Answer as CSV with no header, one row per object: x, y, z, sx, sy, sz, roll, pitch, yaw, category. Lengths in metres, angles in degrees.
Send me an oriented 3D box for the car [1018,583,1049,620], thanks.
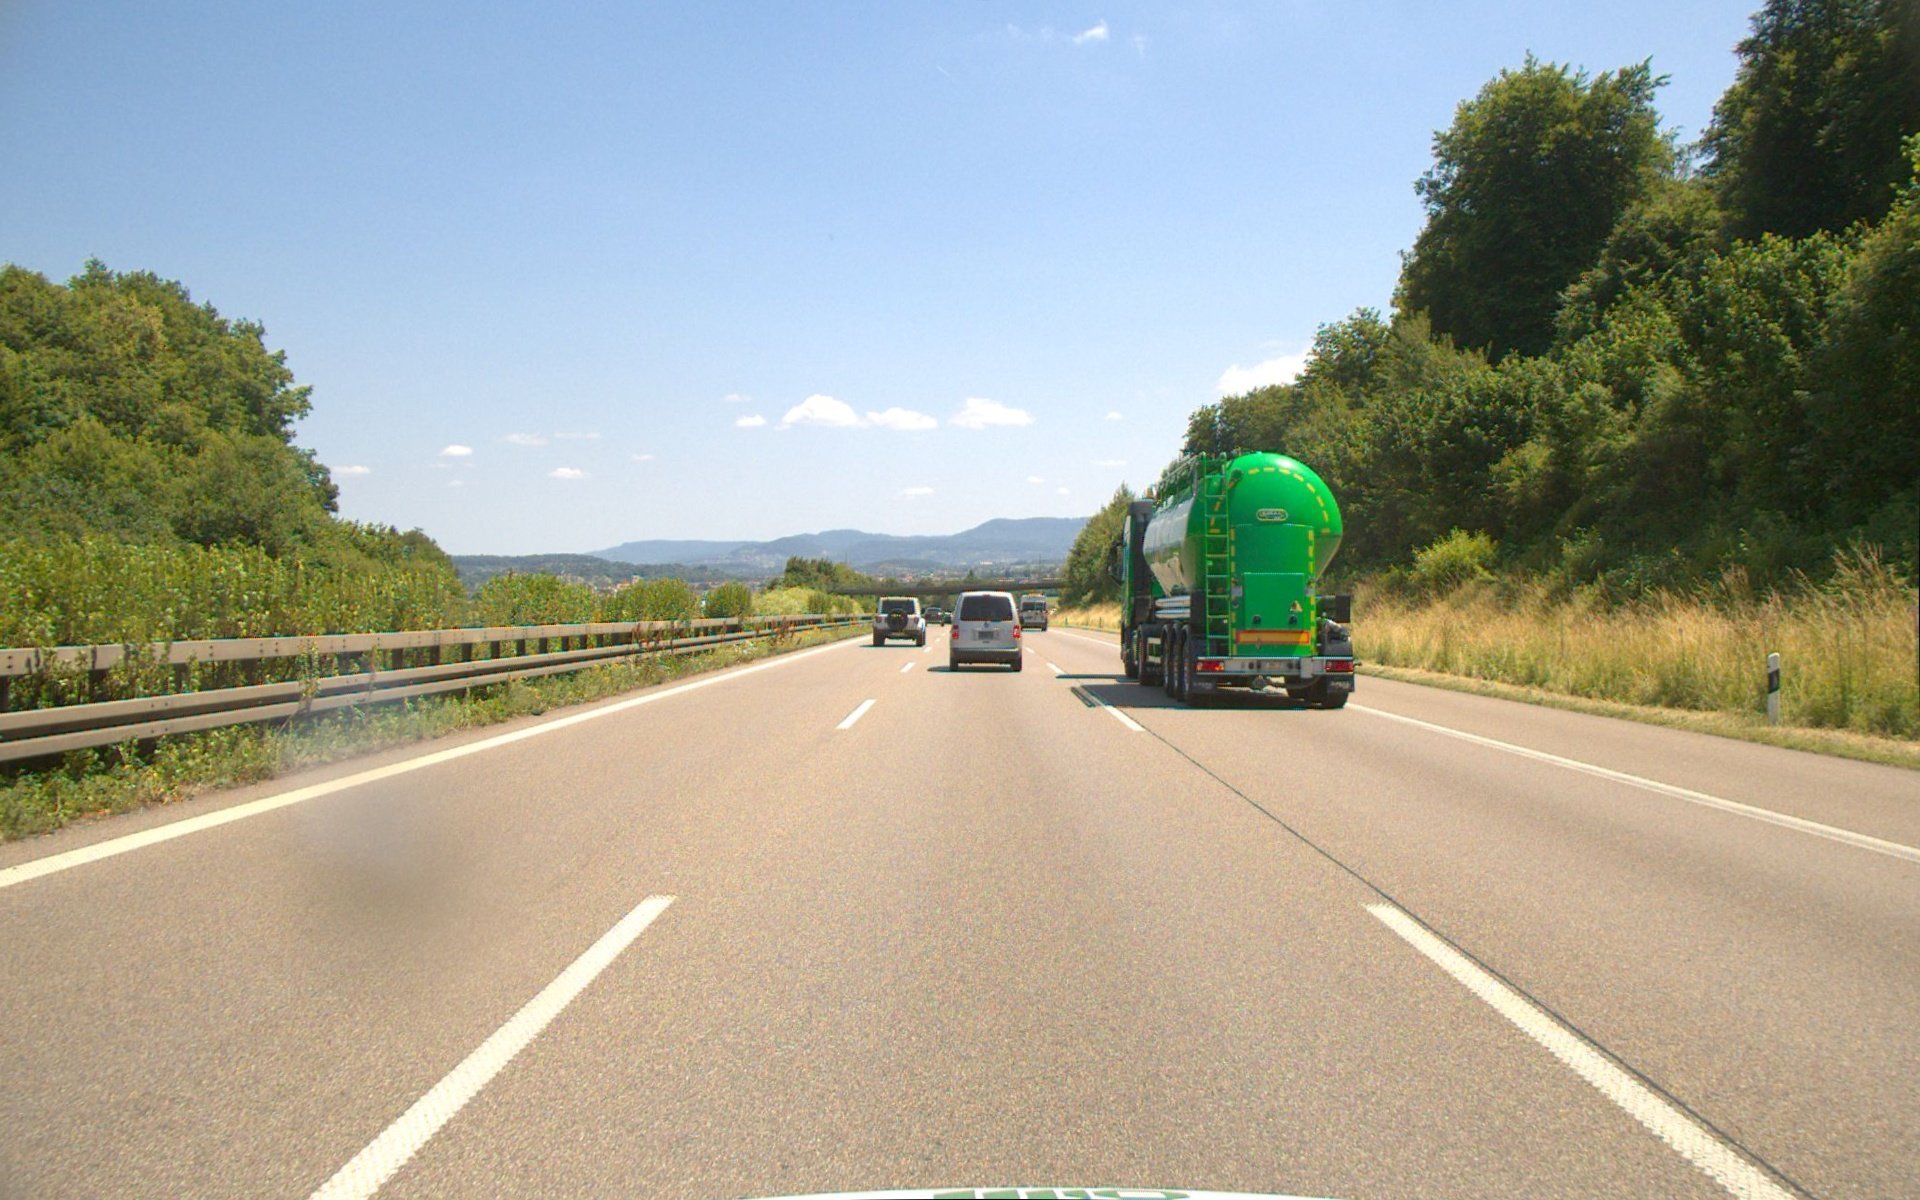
5.271,0.107,119.578,2.046,2.621,6.623,0,0,1,car

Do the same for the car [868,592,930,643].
-2.320,0.650,64.130,2.040,1.861,4.755,1,0,2,car

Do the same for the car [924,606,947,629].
-2.244,1.614,150.896,1.952,2.049,4.000,1,0,0,car

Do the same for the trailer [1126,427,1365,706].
4.736,-0.508,29.610,2.534,4.098,10.470,0,0,0,trailer

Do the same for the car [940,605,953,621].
-1.816,1.729,220.849,1.663,2.049,3.823,1,0,1,car

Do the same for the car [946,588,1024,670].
0.549,0.658,40.246,1.710,1.861,4.799,1,0,-1,car

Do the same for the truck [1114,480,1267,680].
4.749,-0.398,34.875,2.458,3.909,4.891,0,0,-1,truck
